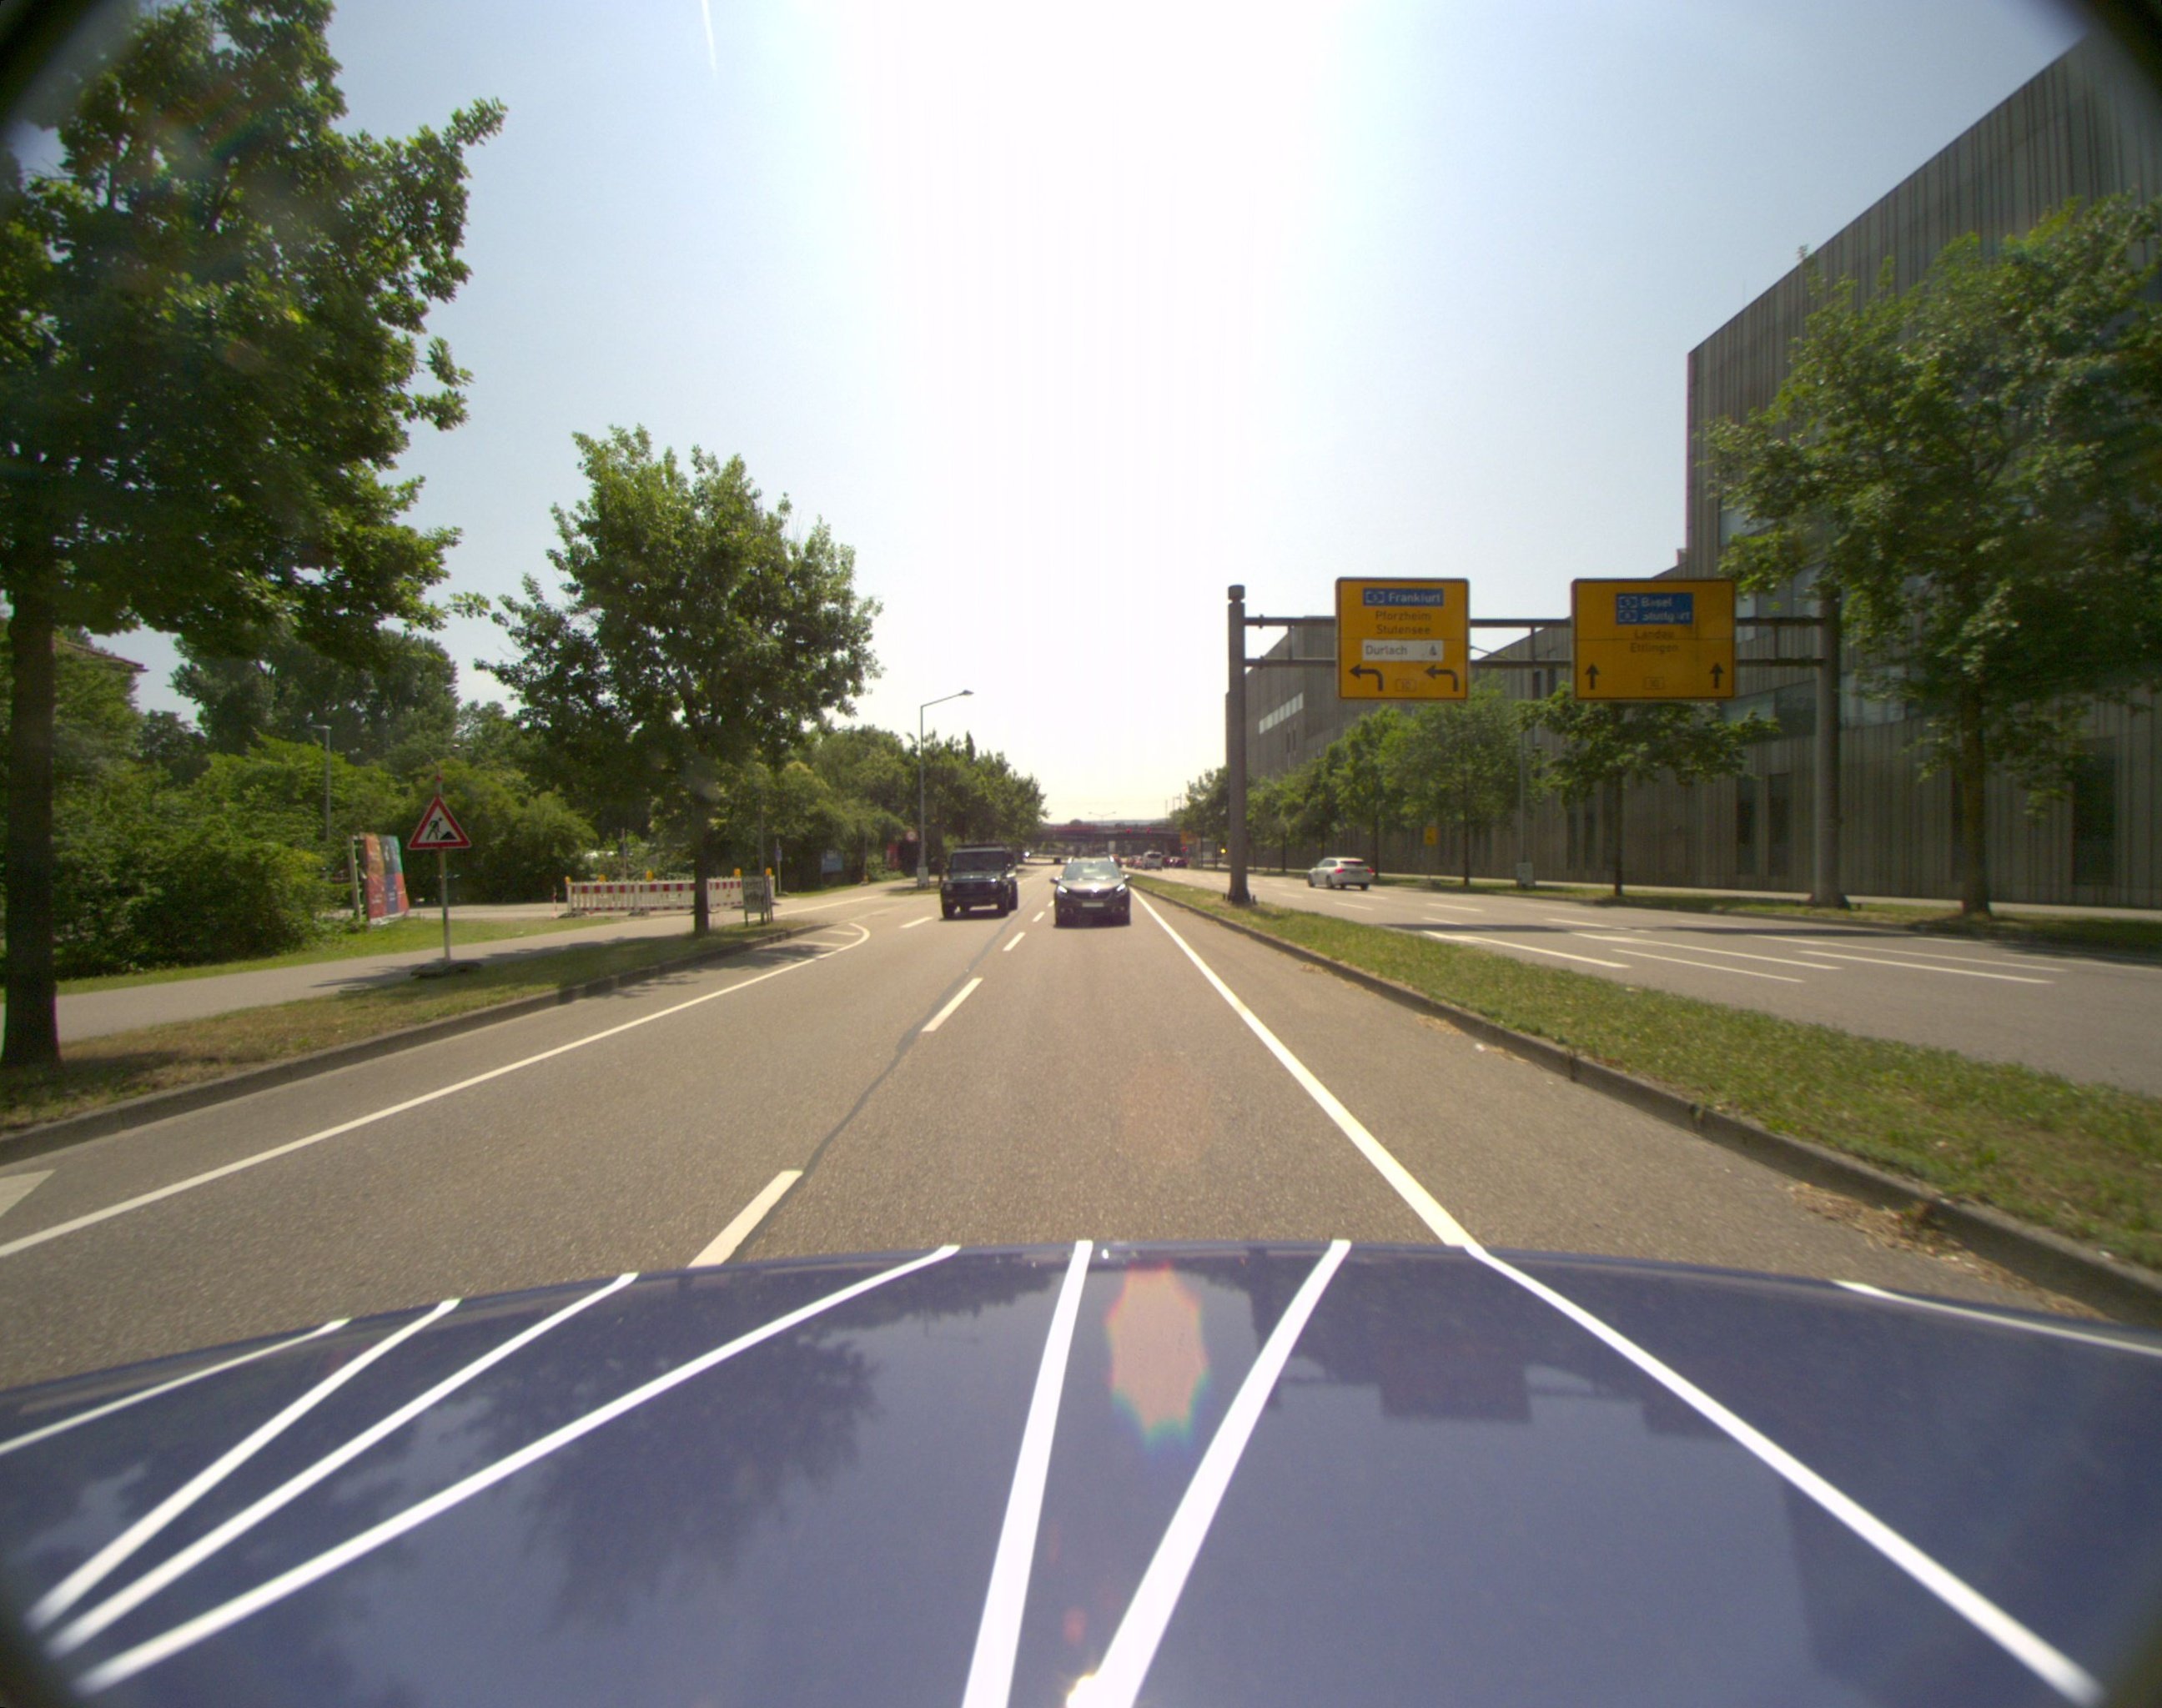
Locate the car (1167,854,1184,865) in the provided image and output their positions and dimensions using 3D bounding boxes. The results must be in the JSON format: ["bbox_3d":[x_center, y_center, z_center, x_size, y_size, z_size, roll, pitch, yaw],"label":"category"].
[{"bbox_3d":[13.738,0.839,110.997,1.815,1.534,4.369,-1,0,-2],"label":"car"}]

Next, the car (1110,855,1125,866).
[{"bbox_3d":[4.966,0.811,103.848,1.815,1.458,4.057,1,0,-1],"label":"car"}]

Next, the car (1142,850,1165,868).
[{"bbox_3d":[8.138,0.581,85.756,1.914,1.981,4.897,1,0,-1],"label":"car"}]

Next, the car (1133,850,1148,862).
[{"bbox_3d":[8.062,0.294,103.487,1.807,1.653,4.573,0,0,1],"label":"car"}]

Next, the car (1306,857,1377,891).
[{"bbox_3d":[12.028,0.877,35.398,1.815,1.419,4.358,1,0,0],"label":"car"}]

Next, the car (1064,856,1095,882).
[{"bbox_3d":[-0.121,0.891,46.289,1.817,1.456,3.999,-1,0,-1],"label":"car"}]

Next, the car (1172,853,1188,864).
[{"bbox_3d":[13.669,0.563,105.066,1.625,1.447,4.017,-1,0,-1],"label":"car"}]

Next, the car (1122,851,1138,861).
[{"bbox_3d":[7.068,0.306,110.266,1.815,1.437,4.249,0,0,-3],"label":"car"}]

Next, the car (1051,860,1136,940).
[{"bbox_3d":[0.305,0.930,17.294,1.619,1.502,4.458,-3,0,2],"label":"car"}]

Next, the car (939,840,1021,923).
[{"bbox_3d":[-2.824,0.692,22.188,1.842,2.141,4.556,-1,1,-1],"label":"car"}]

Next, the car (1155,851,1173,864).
[{"bbox_3d":[11.225,0.462,102.998,1.815,1.736,4.645,-1,0,-3],"label":"car"}]

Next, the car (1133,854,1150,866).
[{"bbox_3d":[7.463,0.753,93.953,1.770,1.452,4.144,1,0,-1],"label":"car"}]
